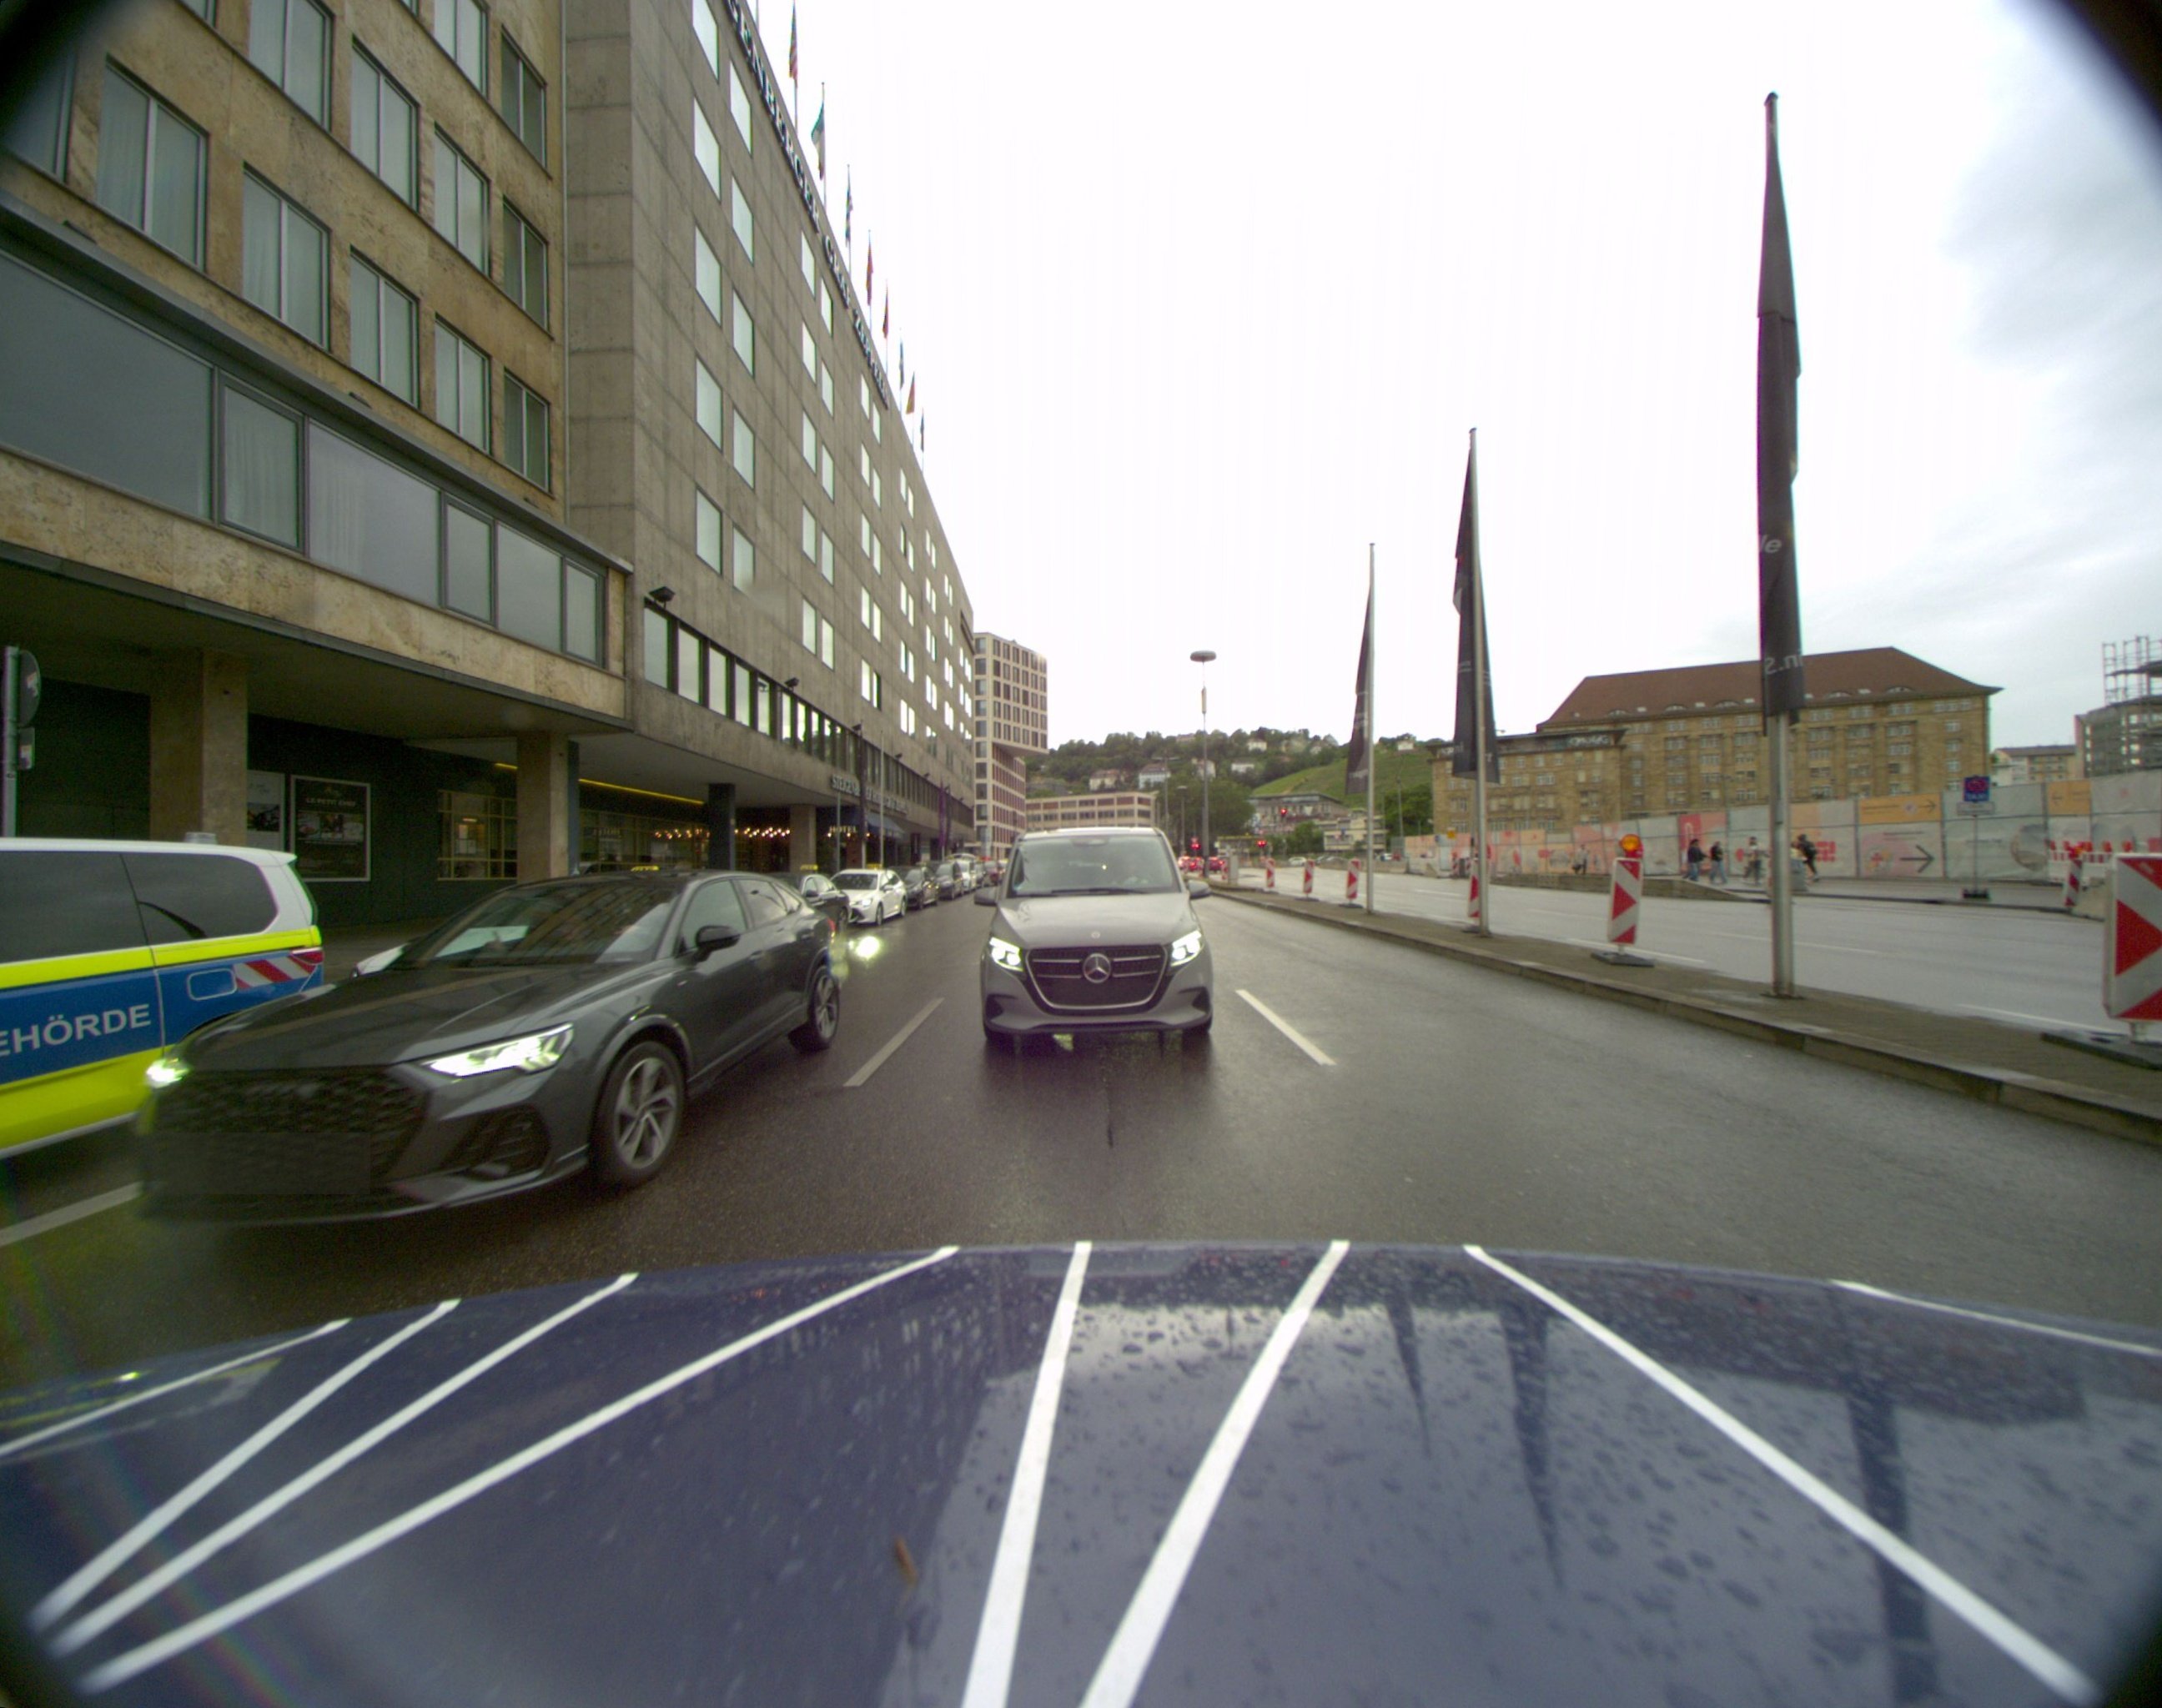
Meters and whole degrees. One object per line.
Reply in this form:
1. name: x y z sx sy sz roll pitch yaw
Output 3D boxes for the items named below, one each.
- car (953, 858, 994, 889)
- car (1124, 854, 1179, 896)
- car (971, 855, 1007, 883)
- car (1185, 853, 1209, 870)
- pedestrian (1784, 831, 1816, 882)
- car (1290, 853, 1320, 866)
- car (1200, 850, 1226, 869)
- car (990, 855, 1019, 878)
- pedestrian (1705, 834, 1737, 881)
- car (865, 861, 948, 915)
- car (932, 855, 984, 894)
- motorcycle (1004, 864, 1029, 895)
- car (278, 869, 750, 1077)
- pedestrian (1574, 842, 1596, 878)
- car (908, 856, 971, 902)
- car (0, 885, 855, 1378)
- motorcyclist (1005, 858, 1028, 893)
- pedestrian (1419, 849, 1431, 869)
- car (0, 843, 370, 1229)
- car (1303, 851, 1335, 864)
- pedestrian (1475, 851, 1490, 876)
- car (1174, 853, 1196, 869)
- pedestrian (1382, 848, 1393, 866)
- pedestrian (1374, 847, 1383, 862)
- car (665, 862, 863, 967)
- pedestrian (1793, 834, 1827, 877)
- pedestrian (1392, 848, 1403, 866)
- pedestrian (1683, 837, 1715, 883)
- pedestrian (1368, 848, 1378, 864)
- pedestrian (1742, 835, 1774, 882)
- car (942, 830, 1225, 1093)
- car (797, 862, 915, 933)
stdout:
1. car: -6.128 1.069 43.722 1.731 1.604 4.001 -2 1 0
2. car: 2.792 0.798 30.998 1.860 1.461 4.586 -2 1 1
3. car: -5.875 0.917 48.900 1.731 1.604 4.001 -2 1 0
4. car: 12.206 0.776 79.936 1.785 1.684 3.916 -2 1 -1
5. pedestrian: 26.200 0.087 27.684 0.661 1.825 0.556 -2 1 21
6. car: 34.712 0.821 117.689 4.194 1.846 1.832 -2 1 6
7. car: 12.518 0.499 72.309 1.785 1.684 3.916 -1 0 0
8. car: -5.907 0.967 59.221 1.731 1.604 4.001 -2 1 0
9. pedestrian: 25.088 0.131 29.801 0.714 1.825 0.718 -2 1 19
10. car: -6.047 1.126 26.846 1.731 1.583 4.814 -2 1 0
11. car: -6.092 0.961 38.214 1.731 1.732 4.814 -2 1 0
12. motorcycle: -2.868 1.120 34.044 0.848 1.299 1.965 -2 1 1
13. car: -6.094 1.105 9.220 1.879 1.628 5.010 -2 1 0
14. pedestrian: 26.234 0.328 39.564 0.664 1.825 0.720 -2 1 1
15. car: -6.054 1.001 33.017 1.731 1.732 4.814 -2 1 0
16. car: -3.111 1.092 4.878 1.883 1.493 4.342 -2 1 1
17. motorcyclist: -2.885 0.939 33.989 0.861 1.519 0.844 -2 1 1
18. pedestrian: 28.882 0.425 63.850 0.715 1.606 0.544 -2 1 1
19. car: -6.324 0.941 3.217 1.879 1.909 4.935 -2 1 0
20. car: 32.341 0.439 103.298 3.993 1.622 2.002 -1 0 14
21. pedestrian: 26.998 0.622 51.076 0.715 1.606 0.544 -2 1 1
22. car: 11.822 0.738 86.547 1.785 1.684 3.916 -2 1 -1
23. pedestrian: 28.723 0.295 71.194 0.715 1.606 0.544 -2 1 1
24. pedestrian: 32.463 0.005 82.818 0.715 1.606 0.544 -2 1 1
25. car: -6.077 1.056 15.303 1.879 1.628 4.814 -2 1 0
26. pedestrian: 27.447 0.057 28.615 0.715 1.606 0.544 -2 1 1
27. pedestrian: 29.044 0.284 69.670 0.715 1.606 0.544 -2 1 1
28. pedestrian: 23.671 0.219 29.116 0.714 1.723 0.718 -2 1 19
29. pedestrian: 29.807 0.229 77.554 0.715 1.606 0.544 -2 1 1
30. pedestrian: 25.437 0.172 28.548 0.714 1.734 0.564 -2 1 21
31. car: 0.060 0.770 8.128 1.998 1.849 5.160 -2 1 1
32. car: -6.044 1.096 21.031 1.731 1.583 4.814 -2 1 0
